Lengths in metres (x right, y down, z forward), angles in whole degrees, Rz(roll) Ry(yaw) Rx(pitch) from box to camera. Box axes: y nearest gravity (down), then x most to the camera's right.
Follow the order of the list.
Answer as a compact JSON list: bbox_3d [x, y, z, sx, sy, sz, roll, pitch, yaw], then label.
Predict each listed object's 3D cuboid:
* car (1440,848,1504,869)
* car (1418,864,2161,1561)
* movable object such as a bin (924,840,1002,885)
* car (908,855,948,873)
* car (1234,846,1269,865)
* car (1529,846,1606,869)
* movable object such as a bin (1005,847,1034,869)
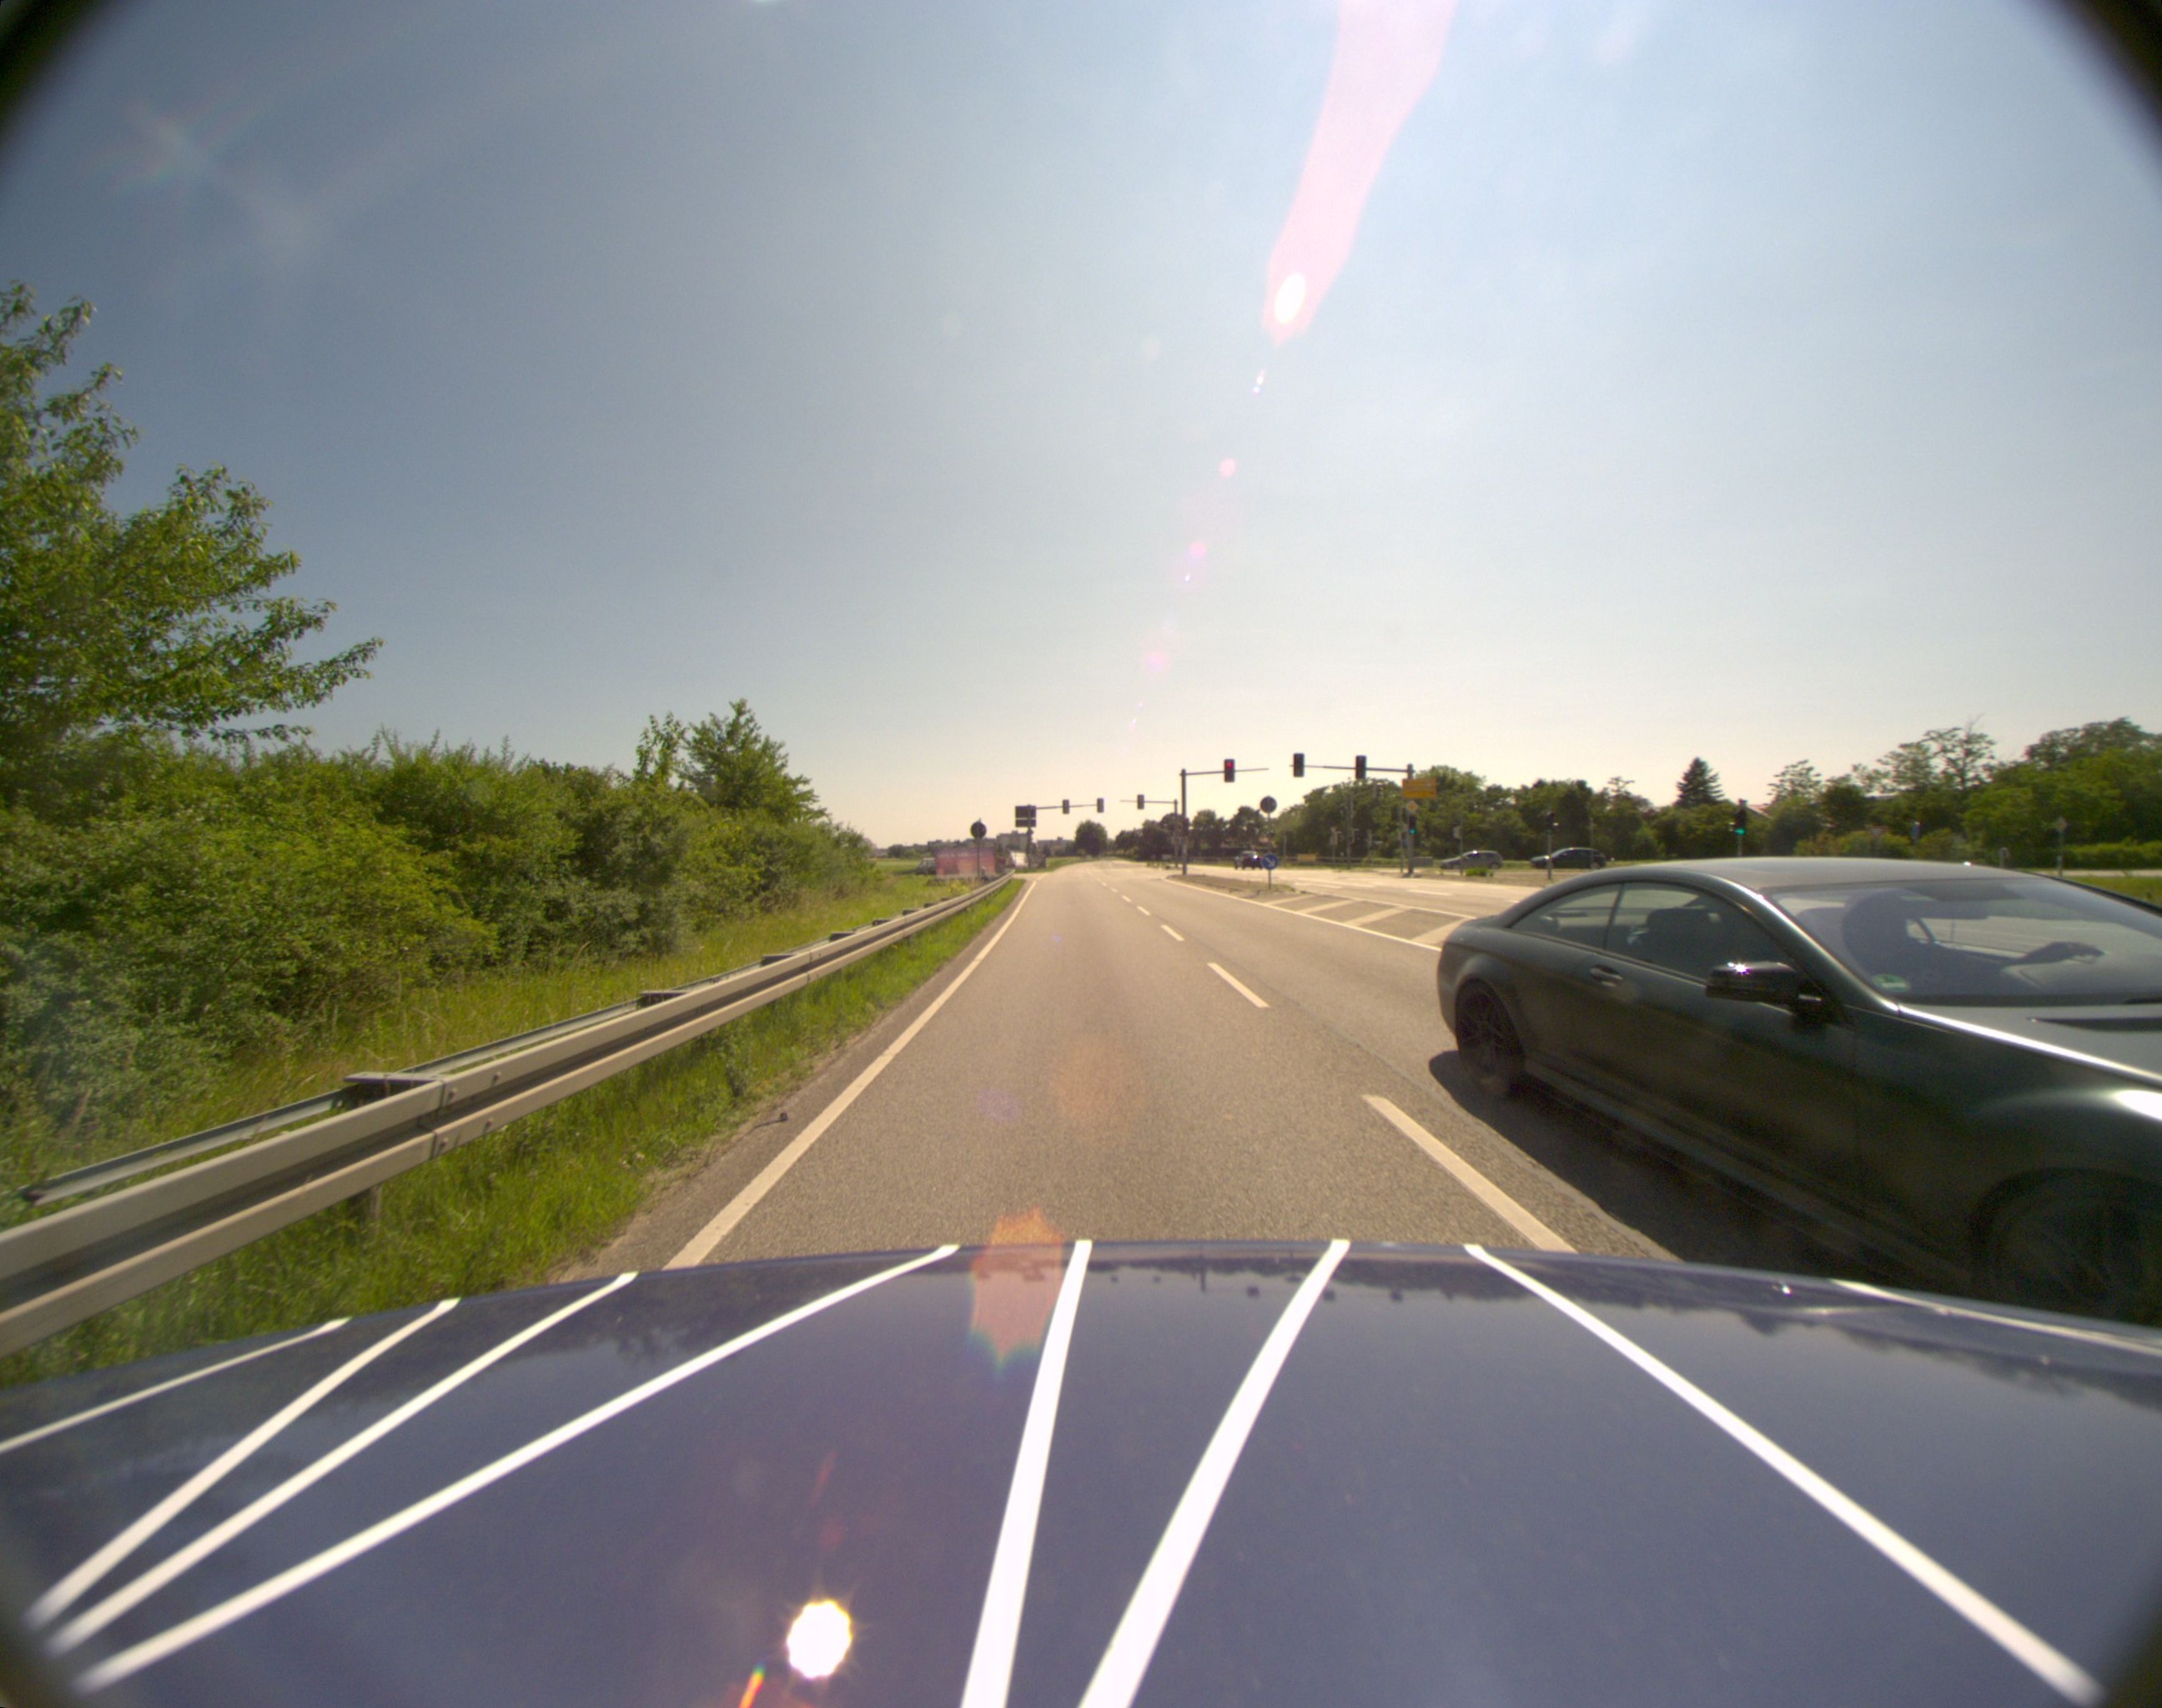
[{"bbox_3d":[28.619,0.334,55.660,3.873,1.379,1.637,-1,0,14],"label":"car"},{"bbox_3d":[3.329,0.838,3.008,1.815,1.441,4.876,-2,0,0],"label":"car"},{"bbox_3d":[-6.602,0.467,42.739,4.105,2.318,1.277,-3,1,-4],"label":"movable object such as a bin"},{"bbox_3d":[-13.675,0.848,67.966,3.346,1.491,1.400,-2,1,-6],"label":"car"},{"bbox_3d":[14.797,0.089,66.031,1.835,1.591,4.303,0,1,-4],"label":"car"},{"bbox_3d":[34.638,0.210,54.187,4.360,1.585,1.637,0,1,16],"label":"car"},{"bbox_3d":[-7.051,0.463,87.183,1.523,2.349,4.429,-2,1,19],"label":"movable object such as a bin"}]
